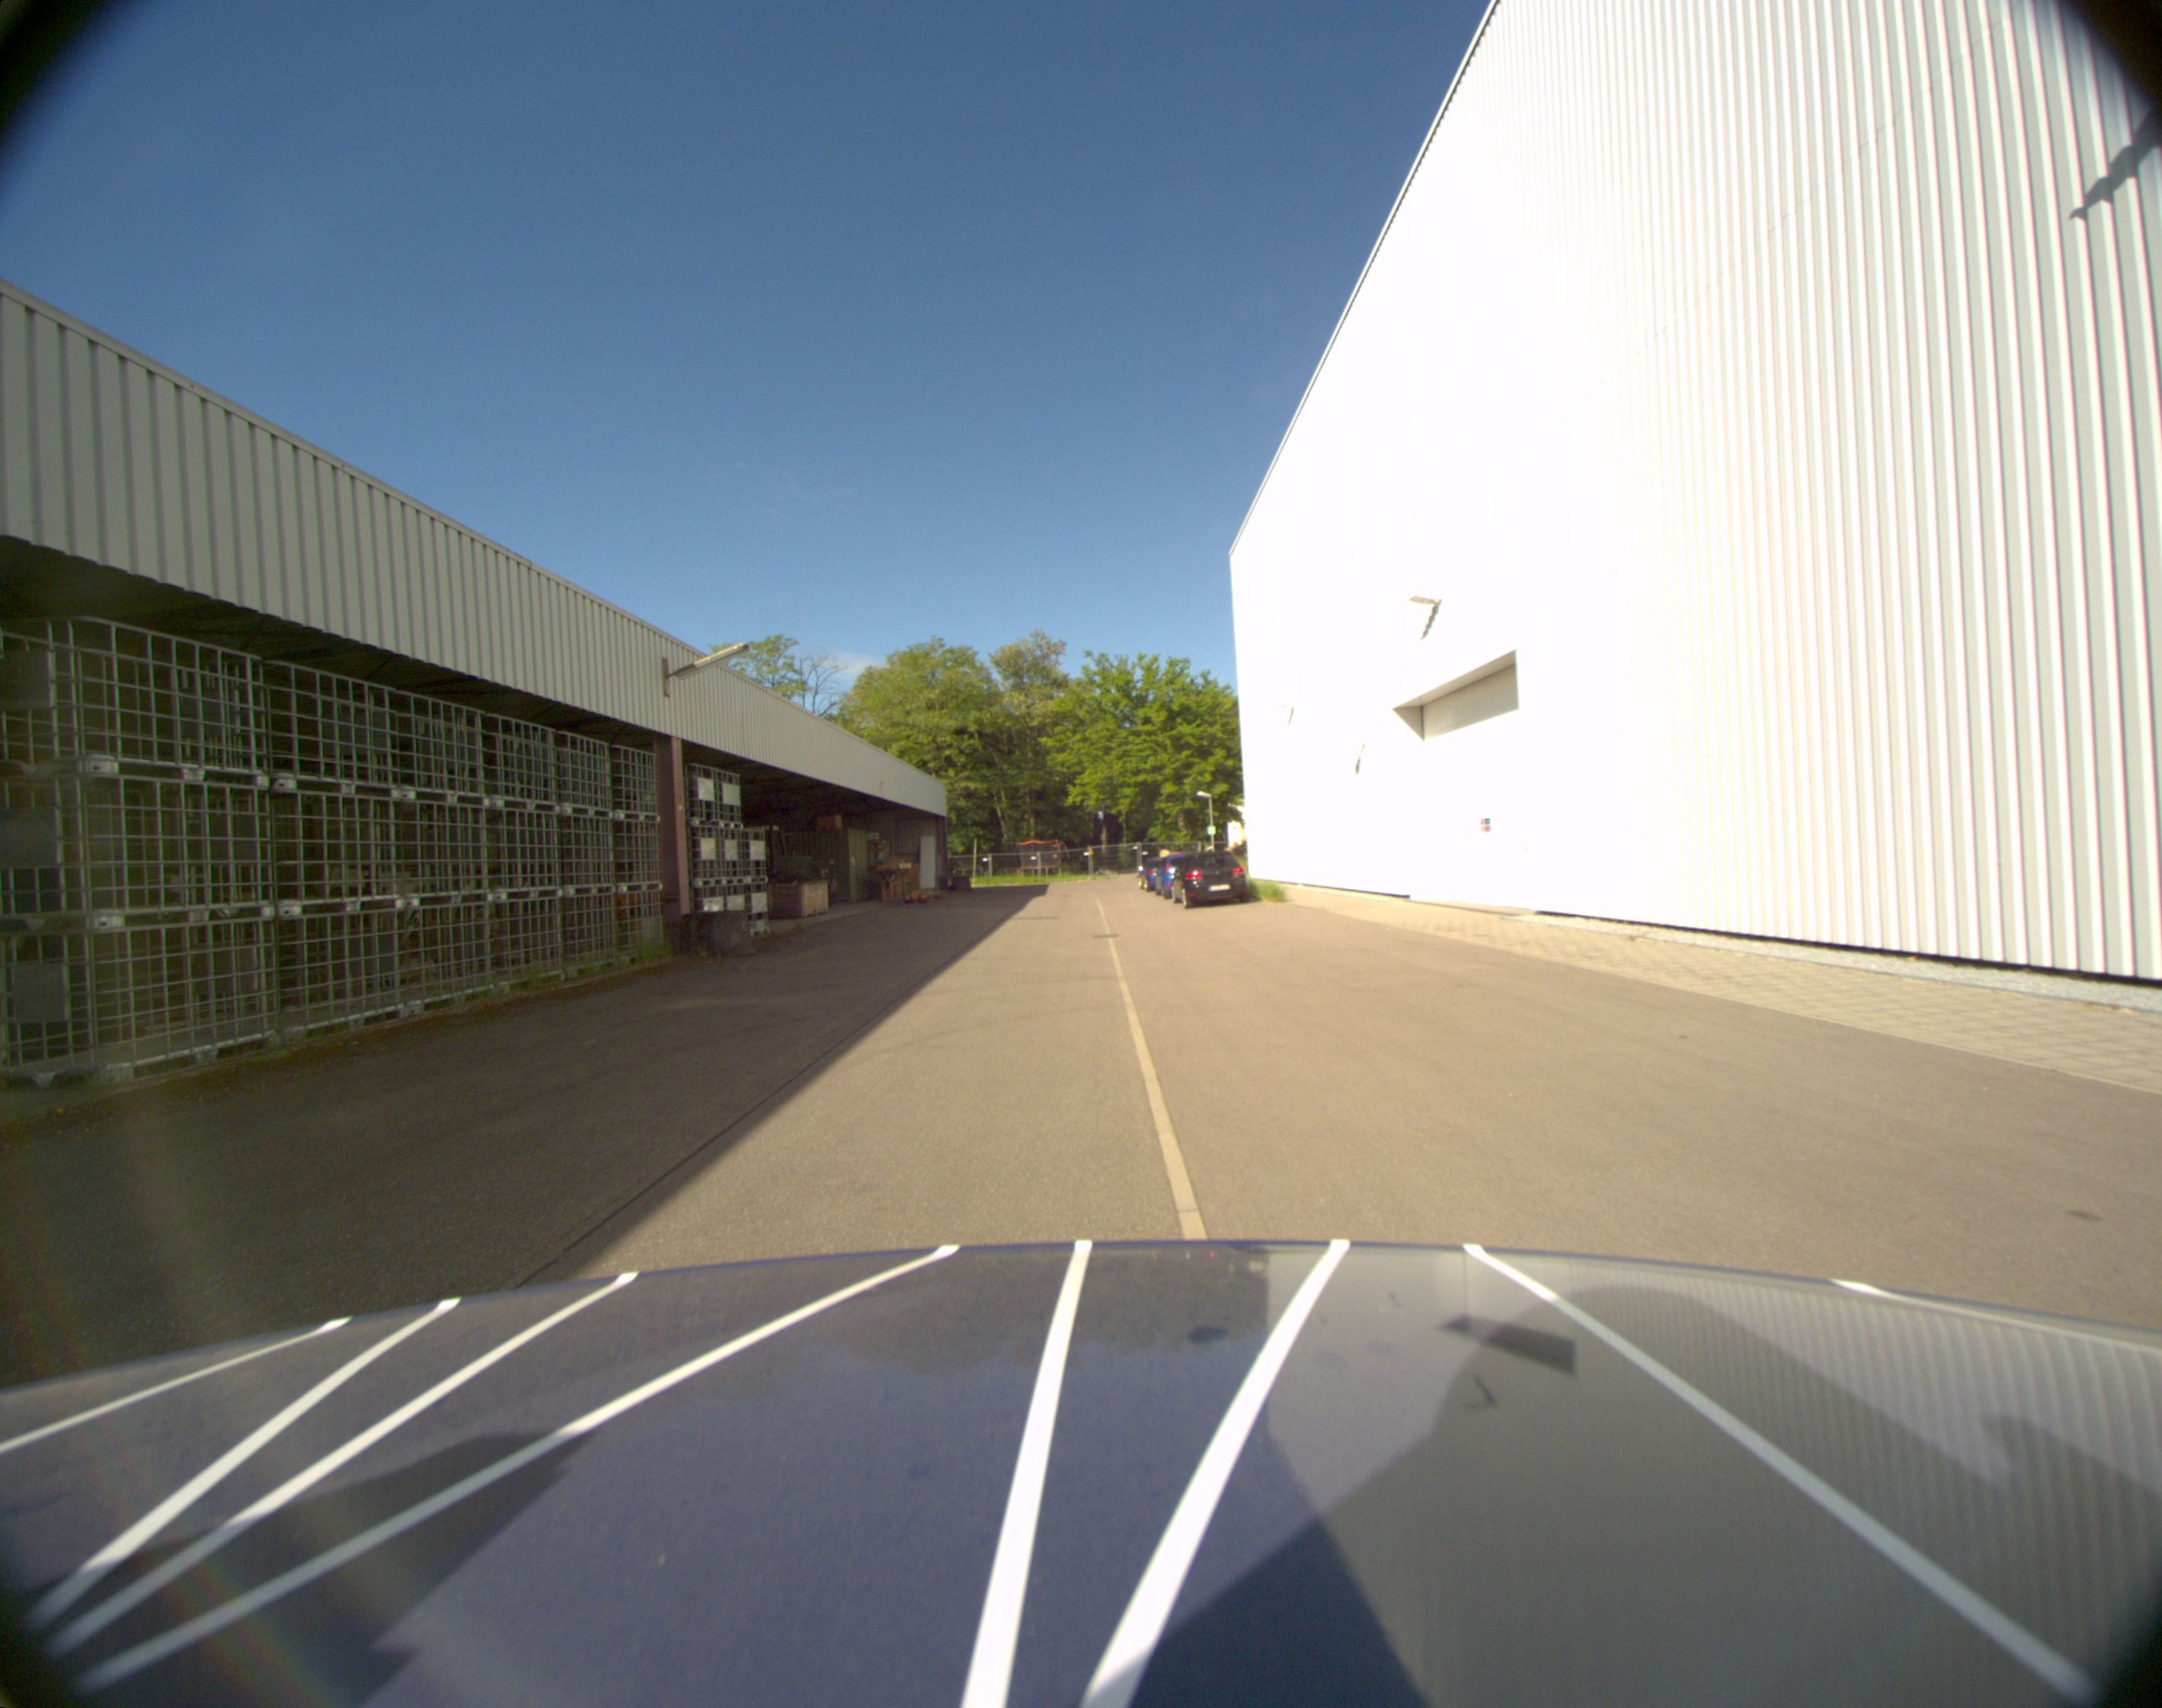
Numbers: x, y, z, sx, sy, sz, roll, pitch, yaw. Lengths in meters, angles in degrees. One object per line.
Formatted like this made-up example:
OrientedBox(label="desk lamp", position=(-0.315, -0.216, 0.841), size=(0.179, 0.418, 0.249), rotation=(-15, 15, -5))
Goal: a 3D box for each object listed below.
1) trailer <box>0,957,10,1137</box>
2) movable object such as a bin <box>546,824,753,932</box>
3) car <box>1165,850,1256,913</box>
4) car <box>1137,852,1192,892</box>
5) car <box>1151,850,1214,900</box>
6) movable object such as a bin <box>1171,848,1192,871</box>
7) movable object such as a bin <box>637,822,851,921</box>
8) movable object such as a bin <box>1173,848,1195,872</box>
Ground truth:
OrientedBox(label="trailer", position=(-9.995, 1.366, 4.011), size=(5.743, 1.178, 1.974), rotation=(-2, 1, -1))
OrientedBox(label="movable object such as a bin", position=(-12.550, 0.664, 22.373), size=(4.537, 2.814, 2.497), rotation=(-2, 0, 1))
OrientedBox(label="car", position=(3.537, 0.717, 21.530), size=(1.760, 1.437, 4.315), rotation=(-6, 0, 1))
OrientedBox(label="car", position=(3.424, 0.736, 31.786), size=(1.716, 1.440, 3.798), rotation=(-5, 0, -1))
OrientedBox(label="car", position=(3.435, 0.707, 26.275), size=(1.552, 1.479, 3.522), rotation=(-5, 0, -1))
OrientedBox(label="movable object such as a bin", position=(6.456, 0.364, 48.877), size=(1.141, 1.469, 1.280), rotation=(-2, -1, 1))
OrientedBox(label="movable object such as a bin", position=(-11.177, 0.561, 25.637), size=(5.848, 2.908, 2.820), rotation=(-2, 0, 1))
OrientedBox(label="movable object such as a bin", position=(6.428, 0.361, 47.513), size=(1.141, 1.426, 1.289), rotation=(-2, 0, 1))
